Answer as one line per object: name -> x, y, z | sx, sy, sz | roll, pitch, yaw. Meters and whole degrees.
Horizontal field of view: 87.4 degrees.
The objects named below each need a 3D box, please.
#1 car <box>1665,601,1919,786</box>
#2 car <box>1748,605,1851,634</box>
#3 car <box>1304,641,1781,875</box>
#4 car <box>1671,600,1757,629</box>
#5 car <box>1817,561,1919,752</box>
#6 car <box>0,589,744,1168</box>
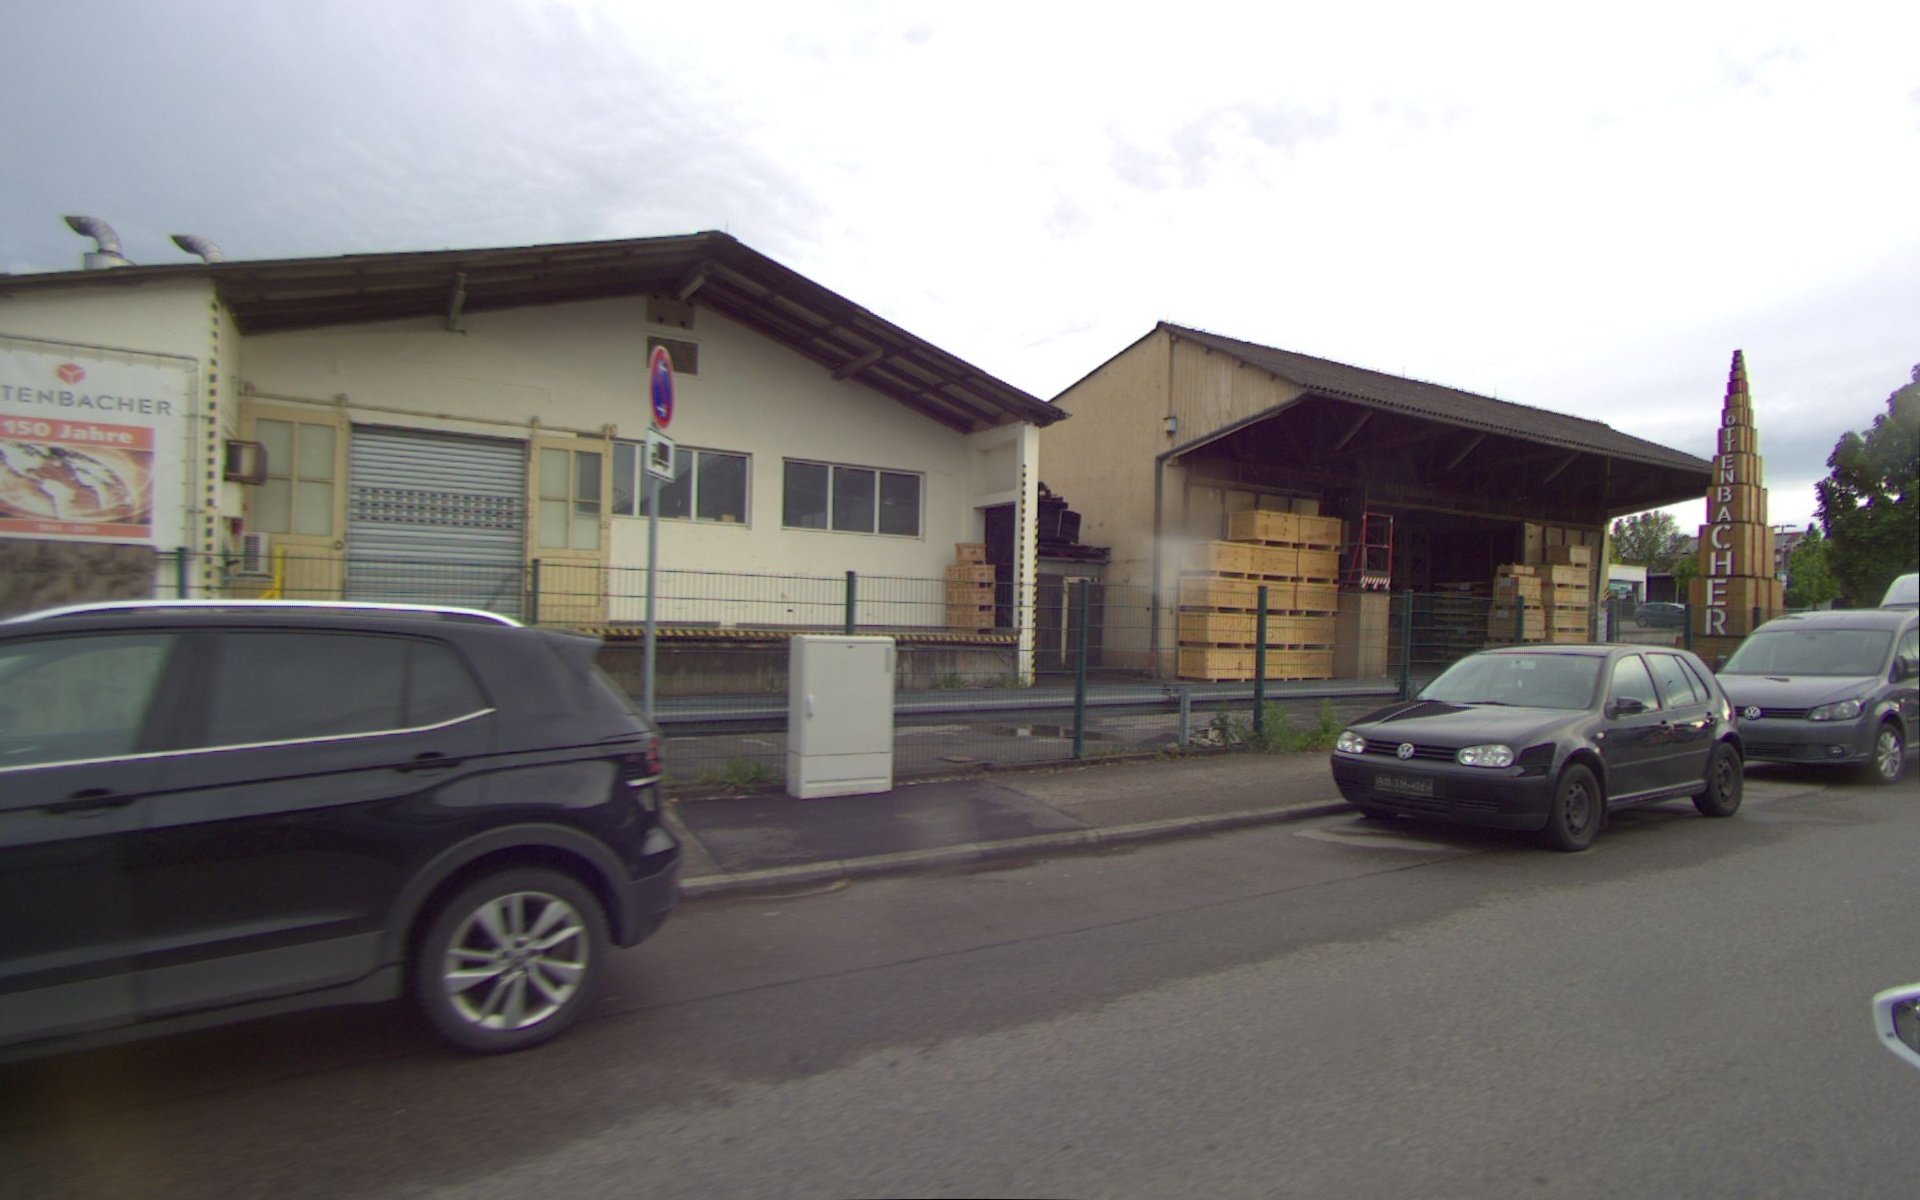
car -> 10.298, 1.016, 11.666 | 4.395, 1.791, 1.761 | 2, -4, -31
car -> 45.324, 1.020, 54.312 | 1.785, 1.406, 3.950 | 1, 1, -35
car -> 4.903, 1.086, 8.278 | 4.271, 1.467, 1.652 | 2, -2, -33
car -> 47.120, 0.906, 62.839 | 1.756, 1.628, 3.957 | 1, 1, -37
car -> 15.112, 0.780, 14.540 | 6.385, 2.458, 2.148 | 1, -3, -31
car -> -2.919, 0.804, 3.625 | 3.873, 1.605, 1.652 | 2, -2, -32
